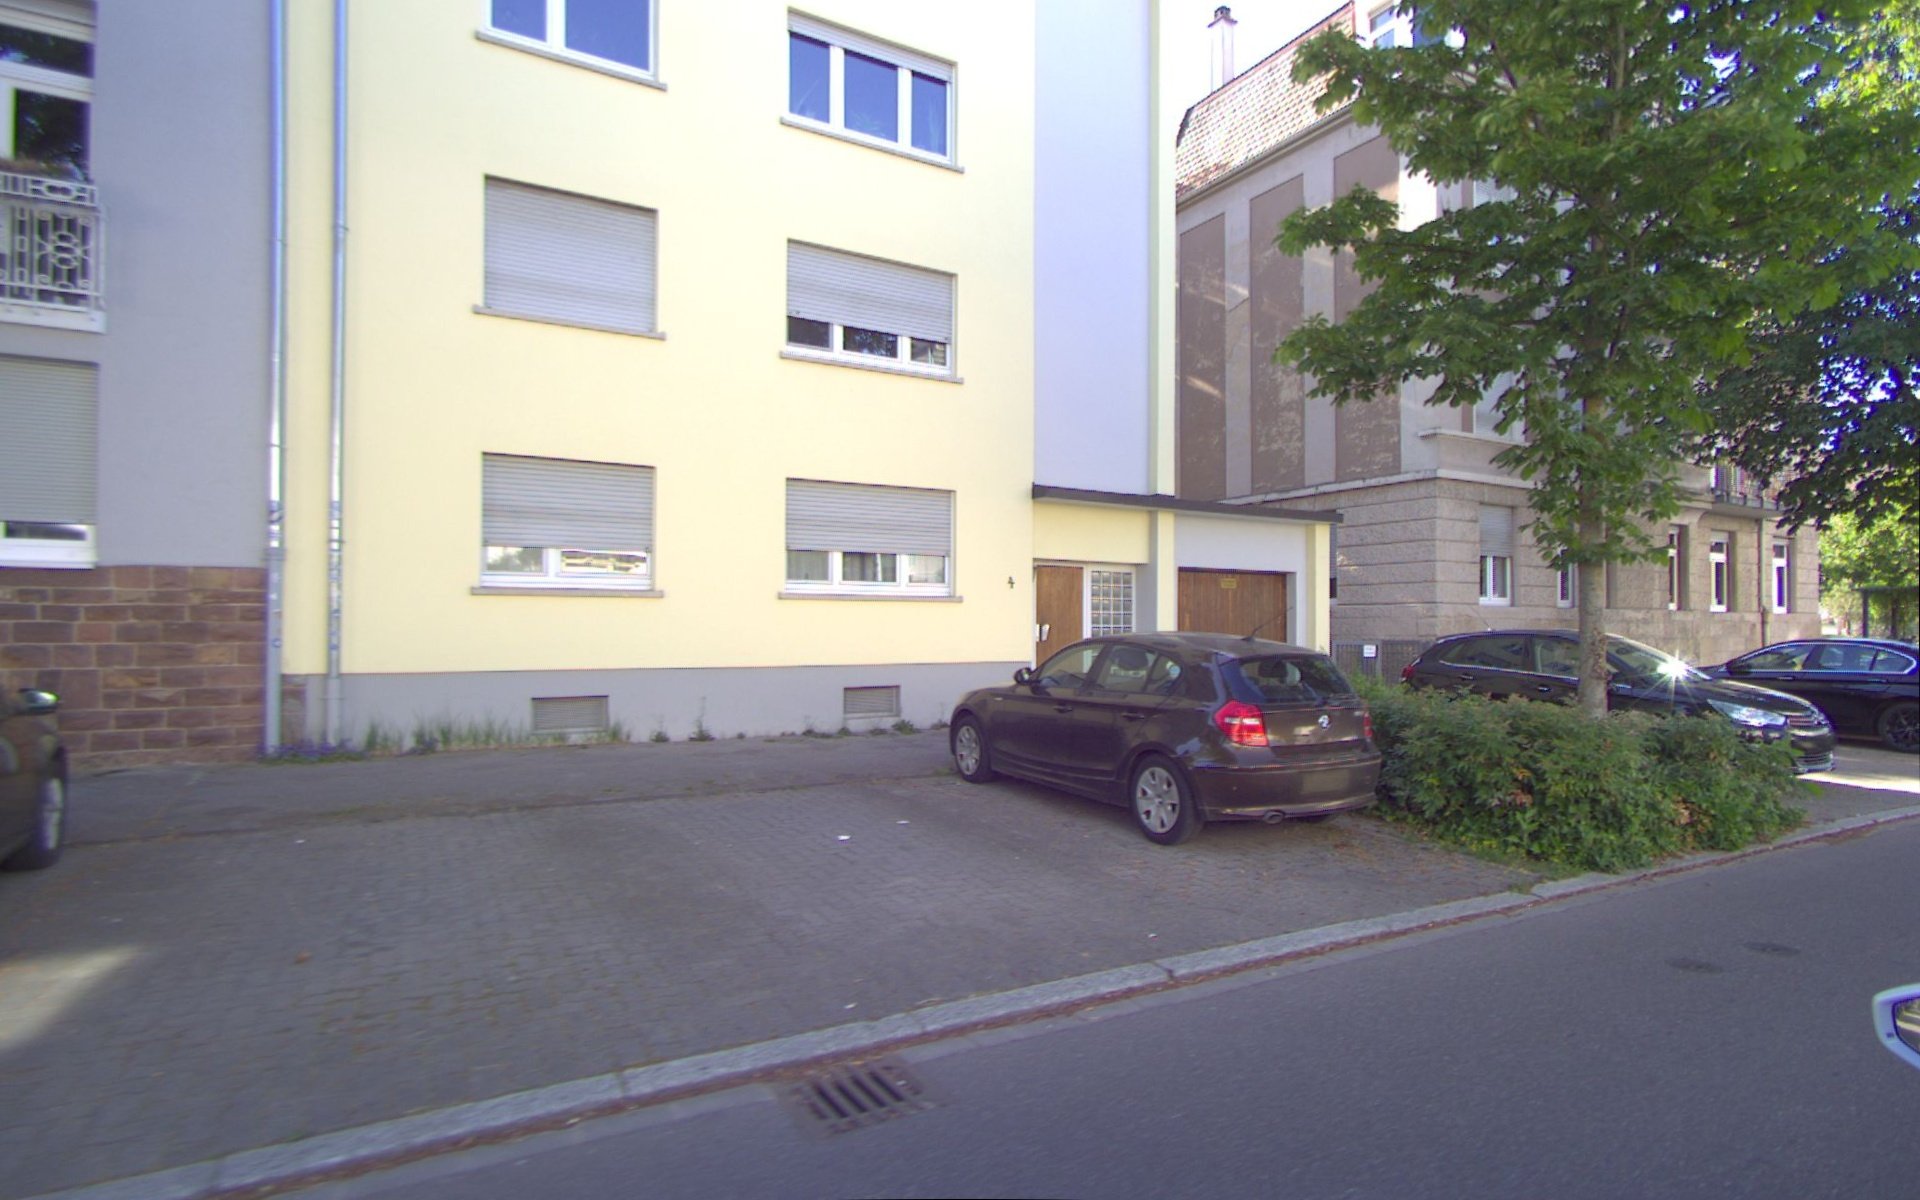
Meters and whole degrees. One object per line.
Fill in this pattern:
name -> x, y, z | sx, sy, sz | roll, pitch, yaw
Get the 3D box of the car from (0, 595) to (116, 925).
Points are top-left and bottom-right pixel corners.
car -> -5.209, 0.721, 4.274 | 1.779, 1.463, 4.002 | 2, 0, -31

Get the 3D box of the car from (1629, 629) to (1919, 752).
car -> 12.500, 1.240, 14.433 | 1.847, 1.498, 4.451 | 2, -1, -31

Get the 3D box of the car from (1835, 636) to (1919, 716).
car -> 18.825, 1.434, 18.641 | 1.710, 1.449, 3.563 | 1, -1, -30

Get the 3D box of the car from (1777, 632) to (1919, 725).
car -> 16.894, 1.367, 16.966 | 1.847, 1.498, 4.451 | 2, -1, -31

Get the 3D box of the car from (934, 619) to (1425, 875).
car -> 1.492, 0.934, 8.256 | 1.750, 1.441, 3.967 | 0, 0, -30

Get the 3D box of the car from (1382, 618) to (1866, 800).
car -> 7.277, 1.057, 11.402 | 1.981, 1.520, 4.142 | 3, 0, -36
